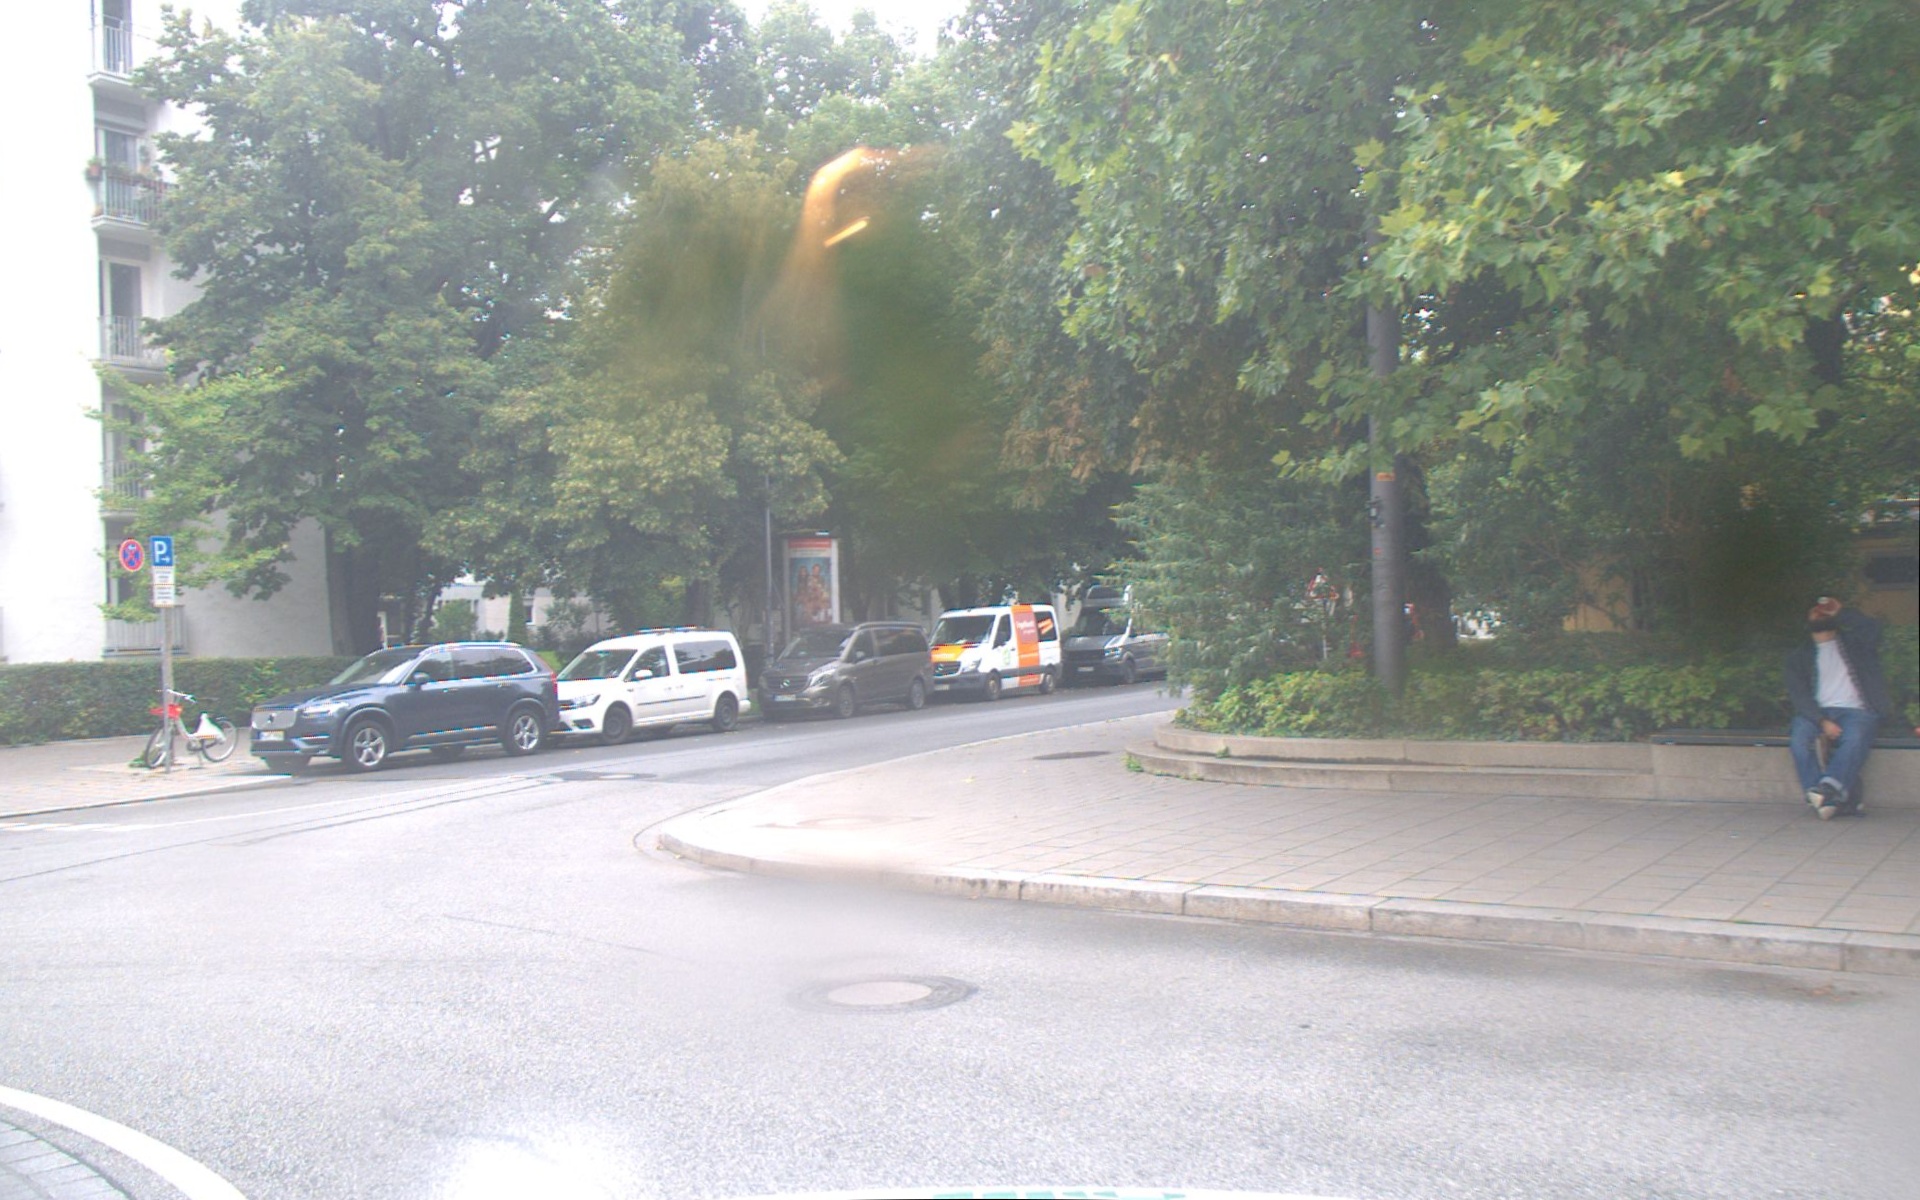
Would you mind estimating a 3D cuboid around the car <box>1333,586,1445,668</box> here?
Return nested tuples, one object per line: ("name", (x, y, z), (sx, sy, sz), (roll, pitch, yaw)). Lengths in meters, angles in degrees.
("car", (11.212, 0.678, 42.988), (1.873, 1.971, 4.965), (-3, -1, 25))

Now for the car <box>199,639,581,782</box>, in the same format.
("car", (-8.244, 1.548, 24.501), (2.045, 1.749, 5.294), (-3, -1, 30))

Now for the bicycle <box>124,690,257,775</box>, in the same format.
("bicycle", (-11.271, 1.927, 24.292), (0.735, 1.104, 1.785), (-3, -1, 18))

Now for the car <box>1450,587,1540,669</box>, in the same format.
("car", (18.441, 0.929, 56.839), (1.955, 2.603, 5.423), (-3, -1, 28))

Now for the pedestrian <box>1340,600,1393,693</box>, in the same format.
("pedestrian", (8.426, 0.967, 34.285), (0.803, 1.868, 0.952), (-2, -1, 1))

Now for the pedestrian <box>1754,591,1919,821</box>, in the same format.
("pedestrian", (5.671, 0.652, 10.646), (0.756, 1.380, 1.127), (-3, -1, 37))

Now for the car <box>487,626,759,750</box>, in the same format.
("car", (-5.847, 1.500, 29.334), (2.044, 1.937, 4.851), (-3, -1, 29))

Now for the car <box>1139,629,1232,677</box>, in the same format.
("car", (7.496, 1.730, 54.737), (1.954, 1.445, 3.997), (-2, -1, 25))

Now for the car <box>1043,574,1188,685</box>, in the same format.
("car", (4.766, 0.853, 49.644), (2.130, 3.055, 6.226), (-3, -1, 27))

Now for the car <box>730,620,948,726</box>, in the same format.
("car", (-2.443, 1.495, 35.360), (1.986, 1.941, 5.661), (-4, -2, 26))

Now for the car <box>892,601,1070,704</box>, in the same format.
("car", (0.629, 1.257, 41.706), (2.044, 2.304, 5.594), (-5, -2, 28))

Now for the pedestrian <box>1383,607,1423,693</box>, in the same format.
("pedestrian", (8.976, 1.017, 33.547), (0.620, 1.696, 0.697), (-2, -1, 6))
